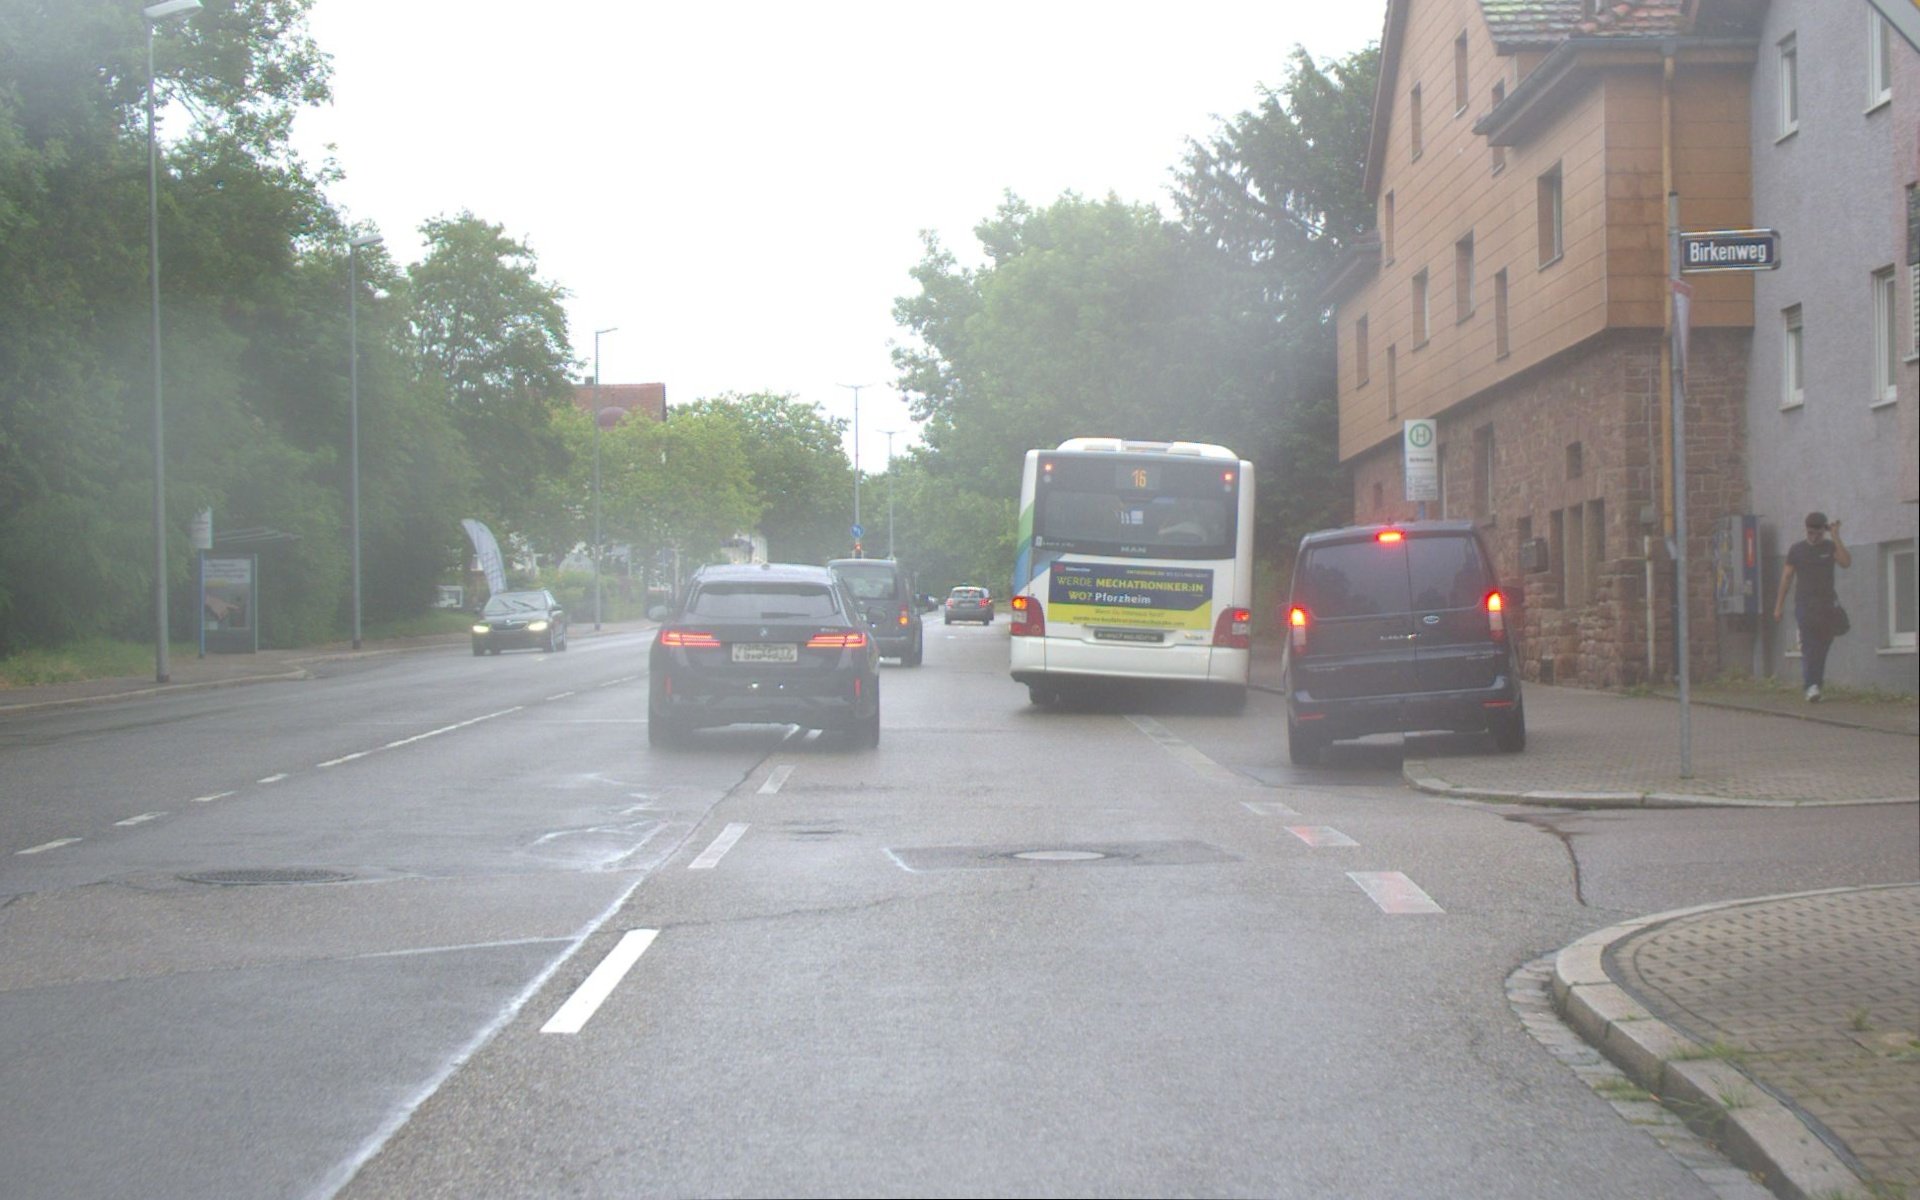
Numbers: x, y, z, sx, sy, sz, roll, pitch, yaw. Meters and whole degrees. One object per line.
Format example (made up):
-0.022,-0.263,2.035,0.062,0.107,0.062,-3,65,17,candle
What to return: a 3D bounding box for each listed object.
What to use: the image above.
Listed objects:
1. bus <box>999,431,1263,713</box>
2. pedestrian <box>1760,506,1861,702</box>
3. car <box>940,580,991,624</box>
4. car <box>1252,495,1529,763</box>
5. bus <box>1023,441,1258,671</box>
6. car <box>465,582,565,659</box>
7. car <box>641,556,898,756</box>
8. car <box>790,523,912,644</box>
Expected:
2.134,-0.431,39.712,2.623,2.837,8.288,-2,2,5,bus
7.780,0.031,31.474,0.690,1.748,0.669,-2,1,-1,pedestrian
0.198,0.048,134.103,1.865,1.513,4.001,-1,3,-2,car
3.553,0.185,28.048,1.927,1.885,4.760,-4,0,8,car
2.390,-0.716,48.687,2.623,2.837,9.795,-2,2,-1,bus
-9.936,0.432,77.019,1.770,1.528,4.001,-2,2,-1,car
-1.673,0.422,29.282,1.993,1.448,4.001,2,2,-5,car
-1.860,-0.317,59.797,1.993,2.006,4.000,0,2,0,car
